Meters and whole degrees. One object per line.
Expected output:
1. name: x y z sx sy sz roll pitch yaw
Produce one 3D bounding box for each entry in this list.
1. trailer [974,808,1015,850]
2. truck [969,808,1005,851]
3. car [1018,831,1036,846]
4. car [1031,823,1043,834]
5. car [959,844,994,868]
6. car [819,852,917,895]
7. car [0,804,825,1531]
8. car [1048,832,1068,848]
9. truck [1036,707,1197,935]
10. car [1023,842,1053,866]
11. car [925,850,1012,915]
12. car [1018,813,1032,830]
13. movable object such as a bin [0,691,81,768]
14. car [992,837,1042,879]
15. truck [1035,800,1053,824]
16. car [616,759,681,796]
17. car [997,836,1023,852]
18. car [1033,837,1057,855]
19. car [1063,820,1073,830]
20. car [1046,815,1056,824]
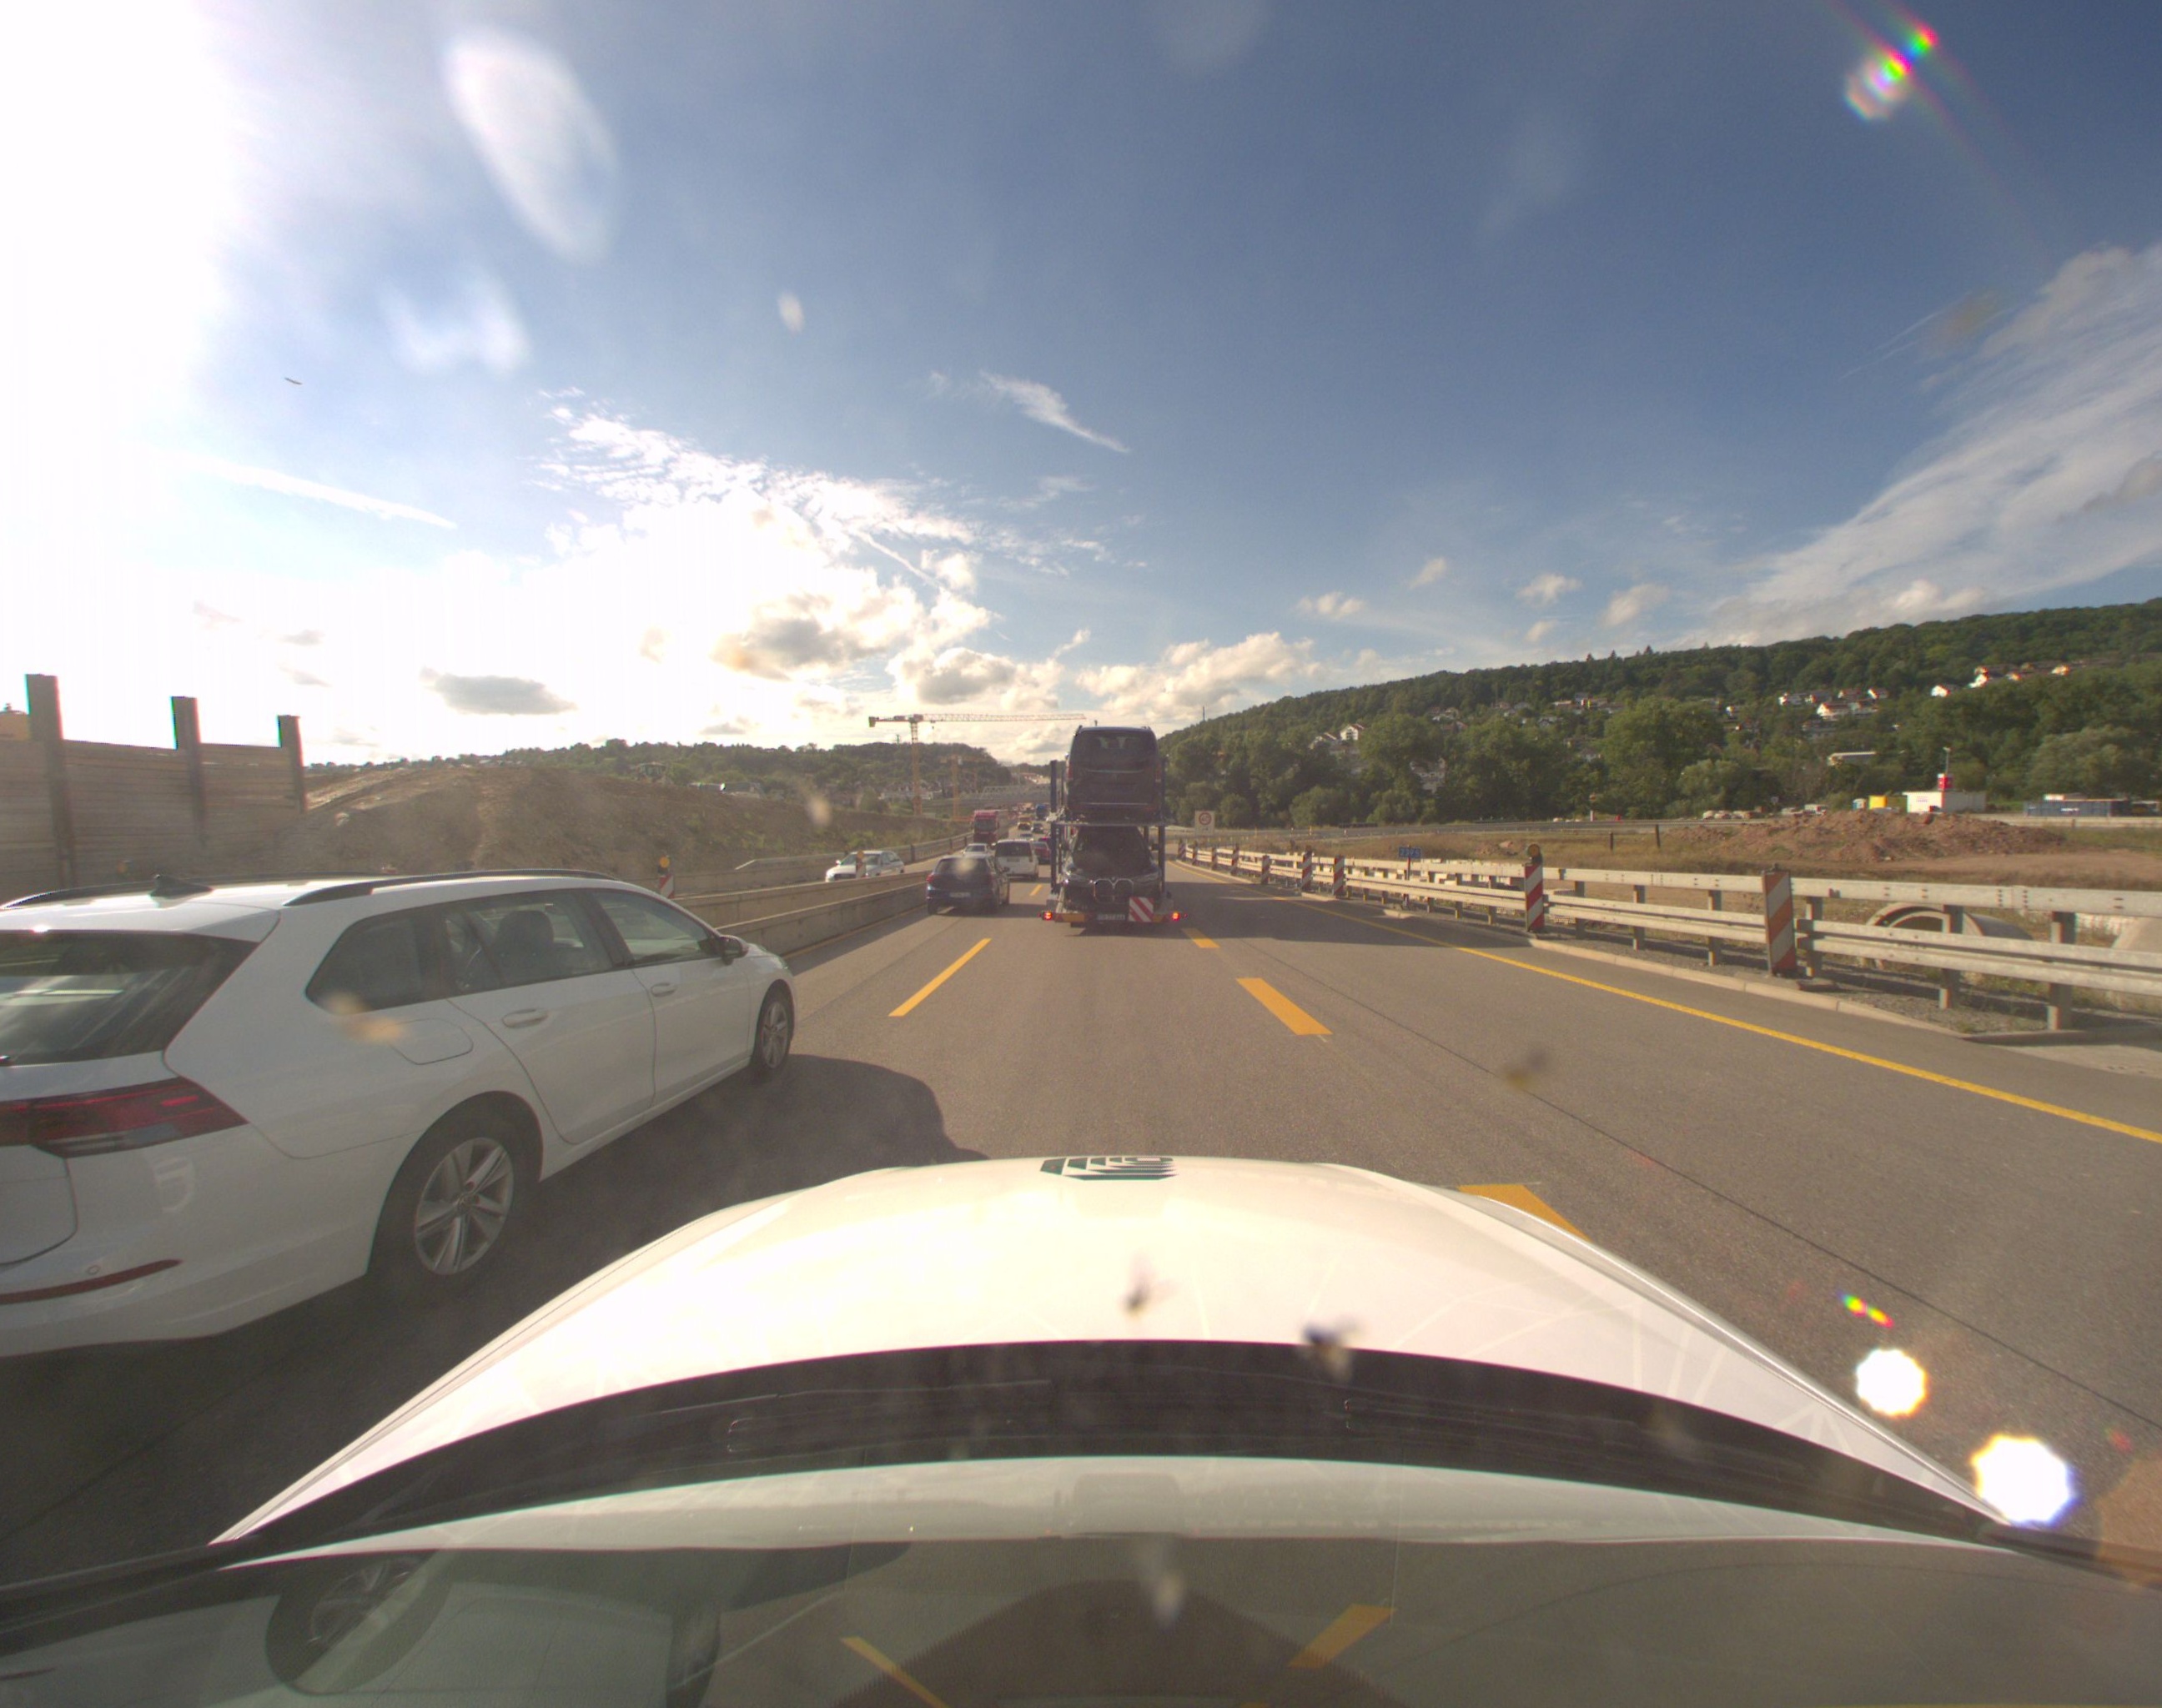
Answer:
1. trailer: -9.715 -2.726 92.807 2.966 4.422 13.819 1 1 1
2. truck: -9.816 -2.547 85.847 2.904 4.387 6.288 1 1 1
3. car: -6.171 -1.754 93.511 1.839 1.648 4.502 0 0 -1
4. car: -6.905 -3.993 126.827 1.840 1.648 4.232 0 0 -3
5. car: -6.667 0.115 52.196 1.748 1.440 3.805 0 0 0
6. car: -7.744 0.664 30.045 1.842 1.440 4.569 0 0 8
7. car: -2.930 0.746 3.958 1.764 1.491 4.517 -4 -1 1
8. car: -2.438 -1.451 87.293 1.986 1.666 4.002 0 1 2
9. truck: 0.644 -0.683 23.733 2.744 3.954 18.888 -1 1 0
10. car: -2.853 0.023 54.854 1.988 1.556 4.397 0 -1 -2
11. car: -2.781 0.652 20.912 1.717 1.422 3.998 -1 1 -1
12. car: -9.665 -5.574 141.068 1.987 2.879 6.065 0 1 0
13. movable object such as a bin: -54.665 -6.202 40.197 5.708 3.271 4.525 0 -1 12
14. car: -2.776 0.194 36.270 1.816 1.792 4.001 0 -1 1
15. truck: -8.883 -10.063 197.417 2.809 4.788 13.067 0 -1 4
16. car: -33.519 -5.908 63.317 1.987 2.140 5.320 -5 -1 0
17. car: -6.494 -0.876 74.677 1.814 1.440 4.615 0 0 1
18. car: -3.055 -0.683 69.472 1.988 1.552 3.998 0 0 -1
19. car: -2.402 -5.300 150.358 1.839 1.648 4.501 0 0 -2
20. car: -6.245 -7.193 171.979 1.987 1.684 3.999 0 0 0
